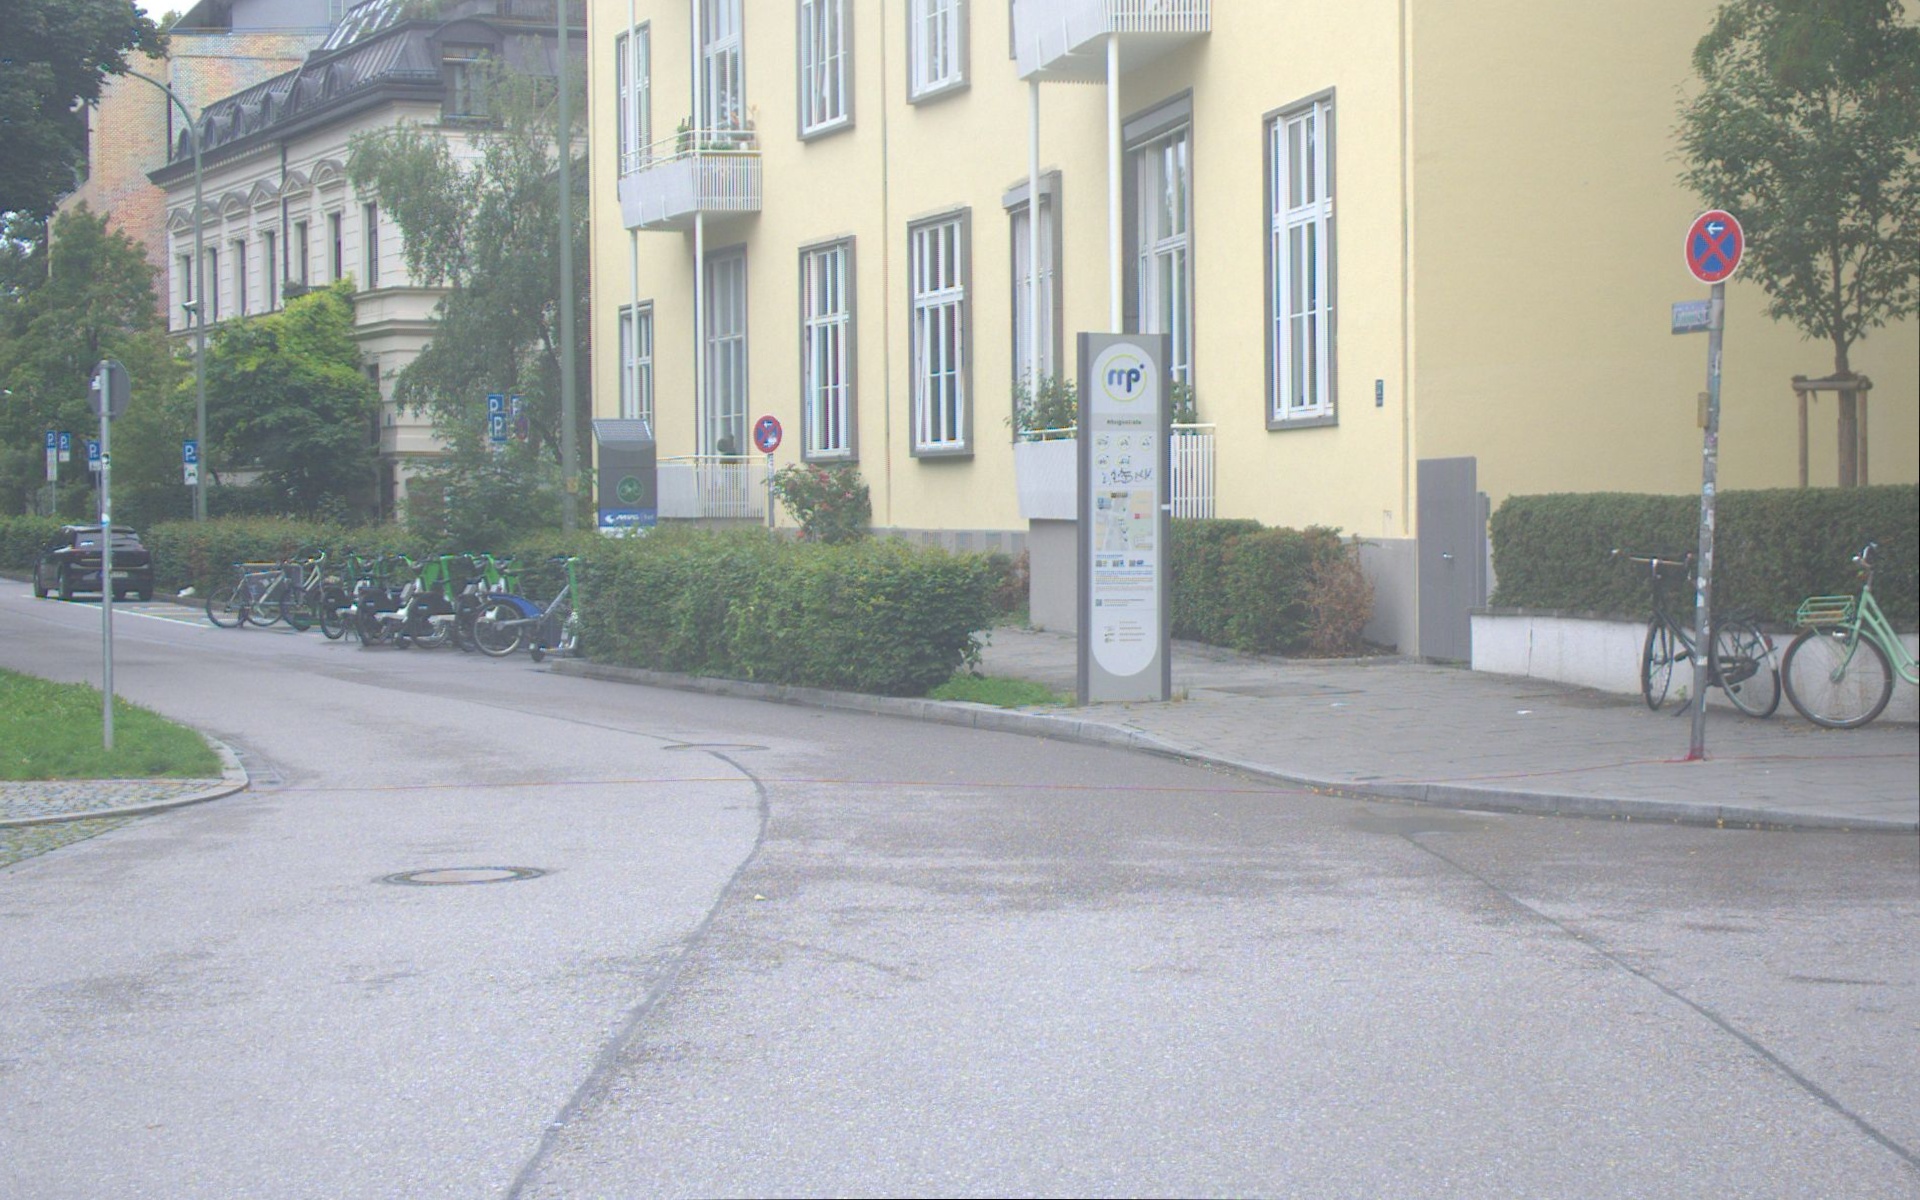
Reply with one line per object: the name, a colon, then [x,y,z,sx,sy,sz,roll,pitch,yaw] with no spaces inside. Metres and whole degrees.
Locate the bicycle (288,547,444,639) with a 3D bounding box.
bicycle: [-7.666,-0.105,44.462,0.697,1.082,2.336,-1,2,27]

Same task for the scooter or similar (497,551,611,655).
scooter or similar: [-4.569,0.028,38.765,0.496,1.105,1.407,-1,2,30]

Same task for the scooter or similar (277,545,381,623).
scooter or similar: [-9.250,-0.244,50.406,1.405,1.084,0.597,-2,2,-5]

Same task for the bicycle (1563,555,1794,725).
bicycle: [4.896,0.246,23.583,0.608,1.069,2.218,-2,2,-14]

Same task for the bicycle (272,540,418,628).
bicycle: [-8.264,-0.223,46.274,0.763,1.082,2.138,-1,2,27]

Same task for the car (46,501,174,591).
car: [-16.381,-1.041,66.133,1.863,1.628,4.284,-2,2,-20]

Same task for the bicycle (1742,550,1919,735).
bicycle: [5.928,0.251,21.271,0.608,1.113,2.216,-2,2,-39]

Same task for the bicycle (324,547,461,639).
bicycle: [-7.193,-0.096,43.700,0.638,1.082,1.983,-1,2,27]

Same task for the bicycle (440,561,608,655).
bicycle: [-5.080,0.087,40.095,1.823,1.002,0.578,-3,2,-25]

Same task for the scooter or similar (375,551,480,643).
scooter or similar: [-6.705,-0.042,43.325,0.496,1.084,1.407,-1,2,30]

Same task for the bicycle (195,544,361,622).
bicycle: [-10.348,-0.263,52.160,2.331,1.082,0.693,-3,2,-28]

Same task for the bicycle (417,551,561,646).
bicycle: [-5.792,-0.025,42.343,0.577,1.082,1.930,-1,2,34]

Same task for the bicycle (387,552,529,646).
bicycle: [-6.255,-0.015,42.938,0.577,1.082,1.930,-1,2,34]
